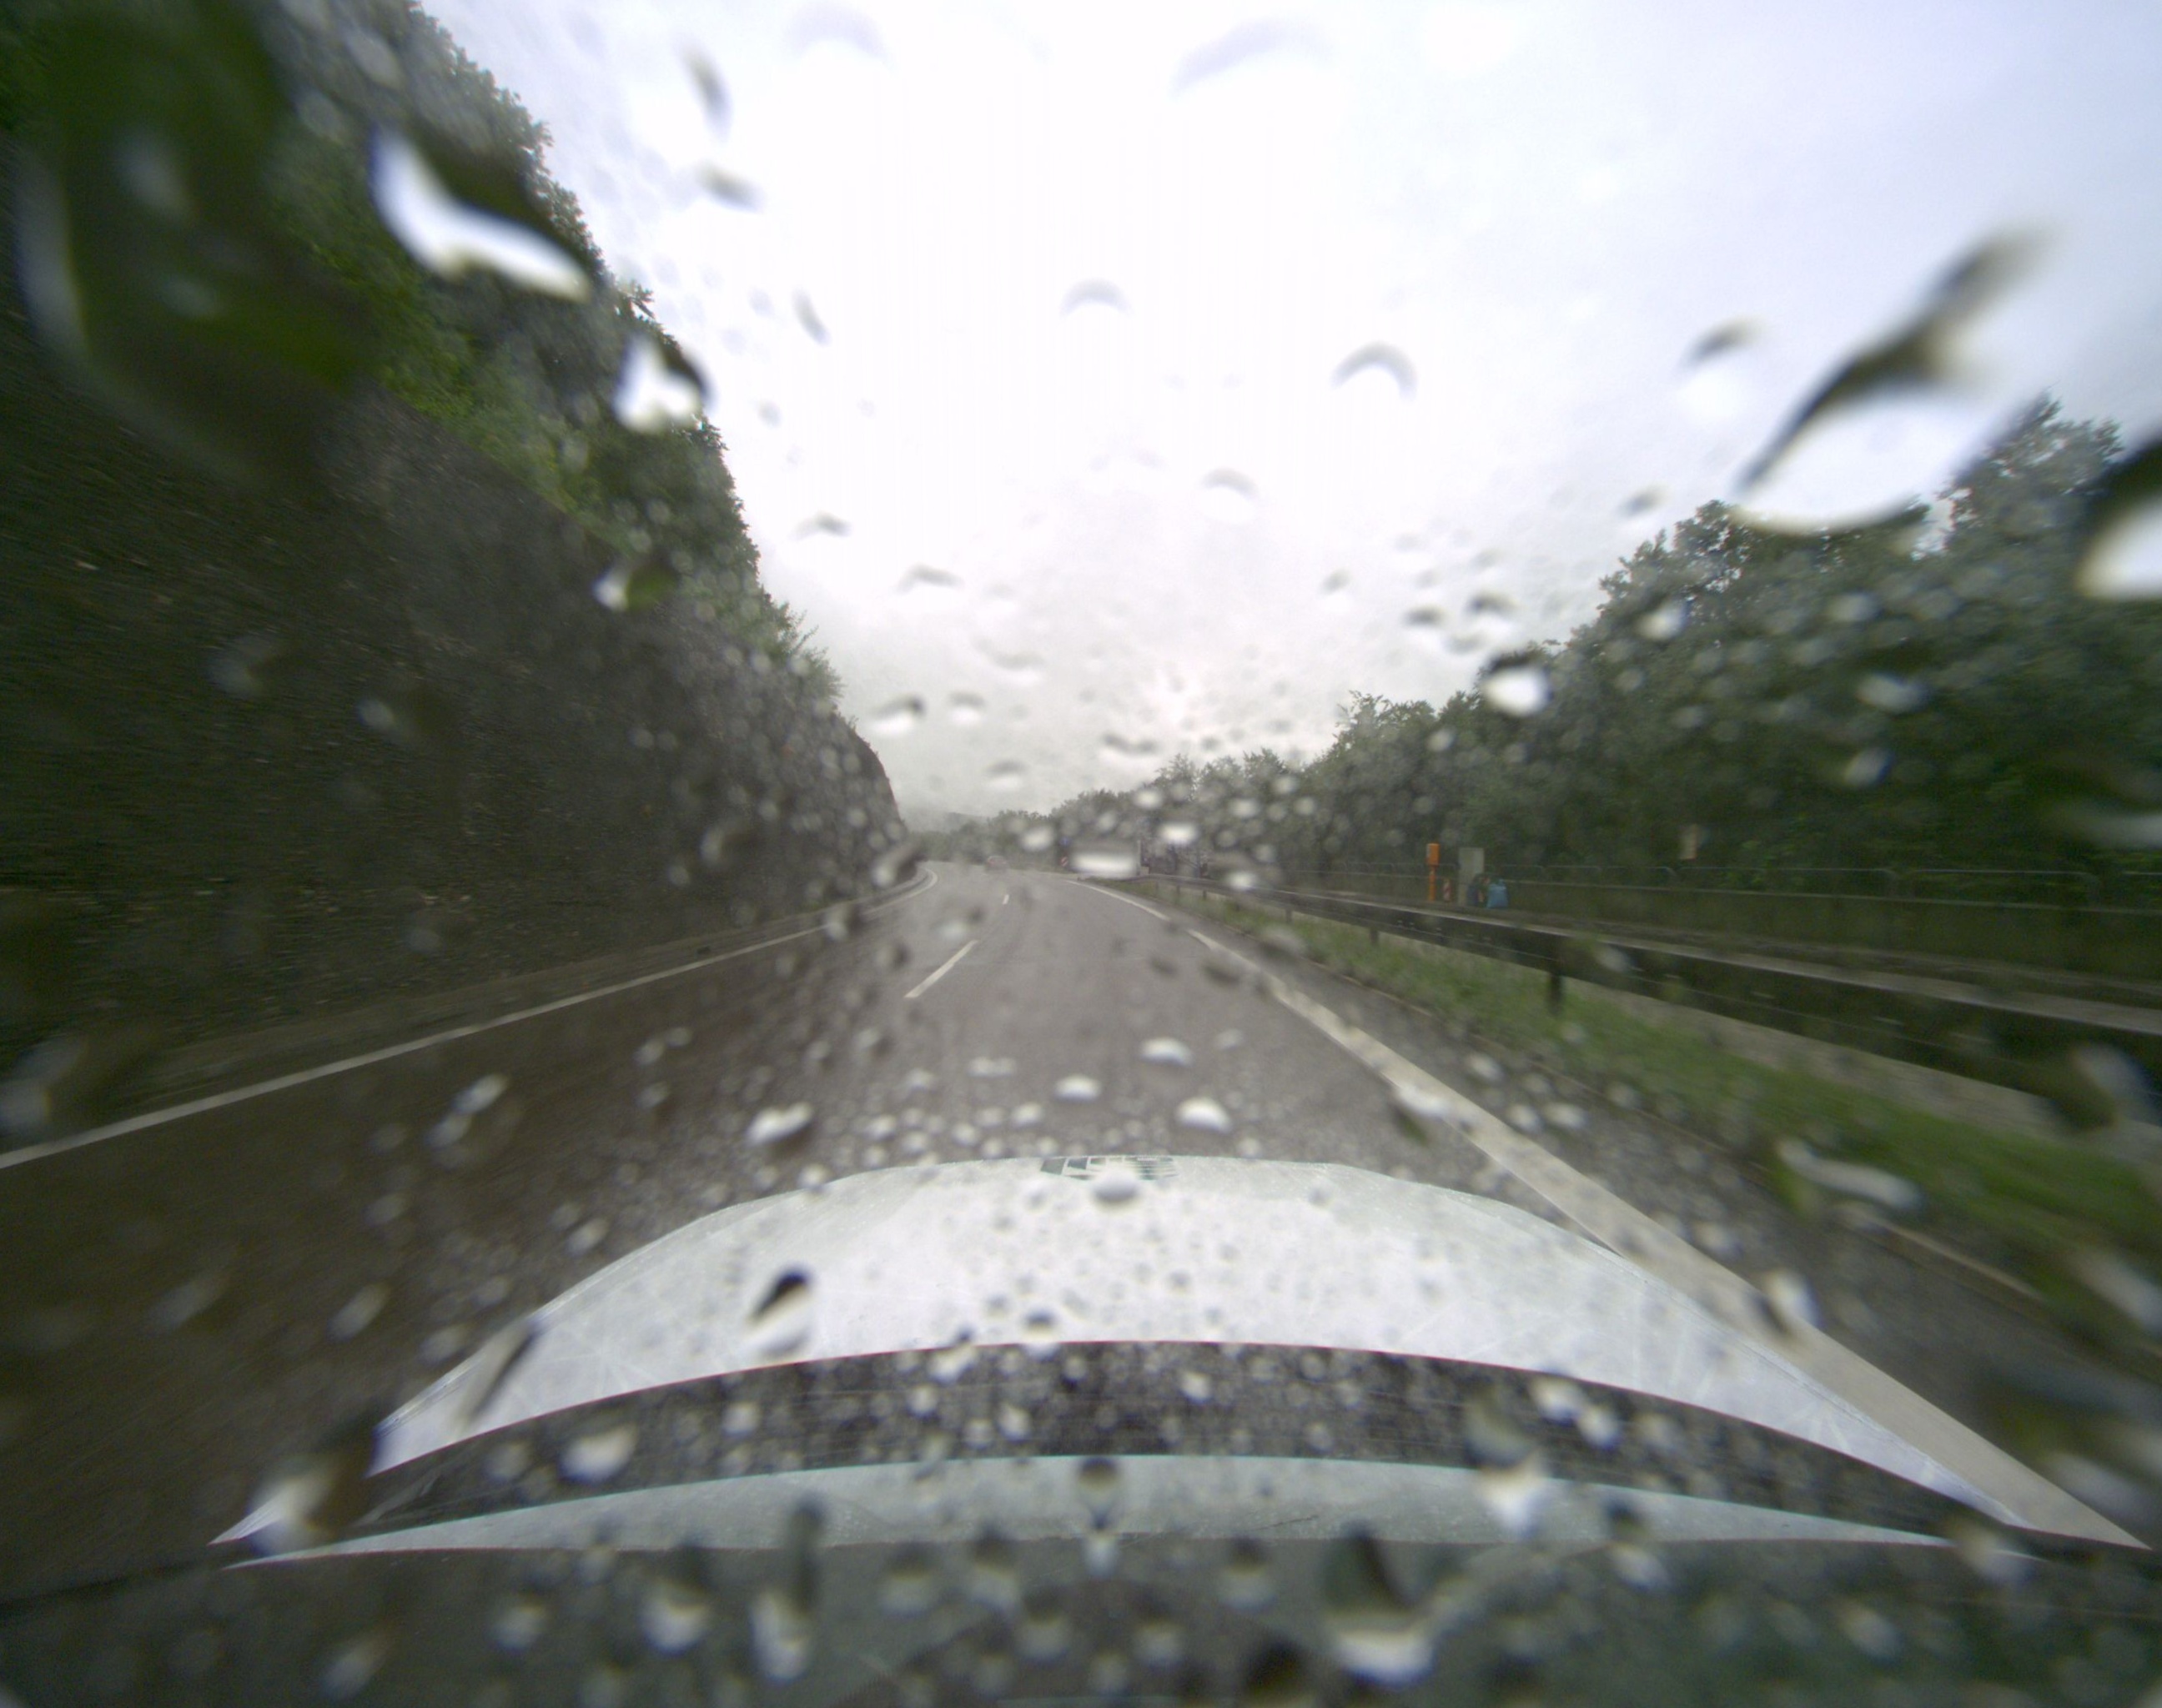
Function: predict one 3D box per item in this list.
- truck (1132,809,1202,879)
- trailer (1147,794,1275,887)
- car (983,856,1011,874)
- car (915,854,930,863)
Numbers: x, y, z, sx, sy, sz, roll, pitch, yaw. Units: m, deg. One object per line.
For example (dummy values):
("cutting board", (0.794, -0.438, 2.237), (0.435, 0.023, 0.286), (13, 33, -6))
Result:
("truck", (5.455, -0.585, 53.001), (2.894, 4.245, 6.862), (-1, 0, -8))
("trailer", (6.540, -0.578, 44.579), (2.890, 4.245, 14.659), (-1, 0, -7))
("car", (-7.747, 0.987, 74.809), (1.908, 1.499, 3.977), (1, 0, -17))
("car", (-28.576, 0.816, 146.584), (1.911, 1.499, 3.971), (1, 0, -22))
